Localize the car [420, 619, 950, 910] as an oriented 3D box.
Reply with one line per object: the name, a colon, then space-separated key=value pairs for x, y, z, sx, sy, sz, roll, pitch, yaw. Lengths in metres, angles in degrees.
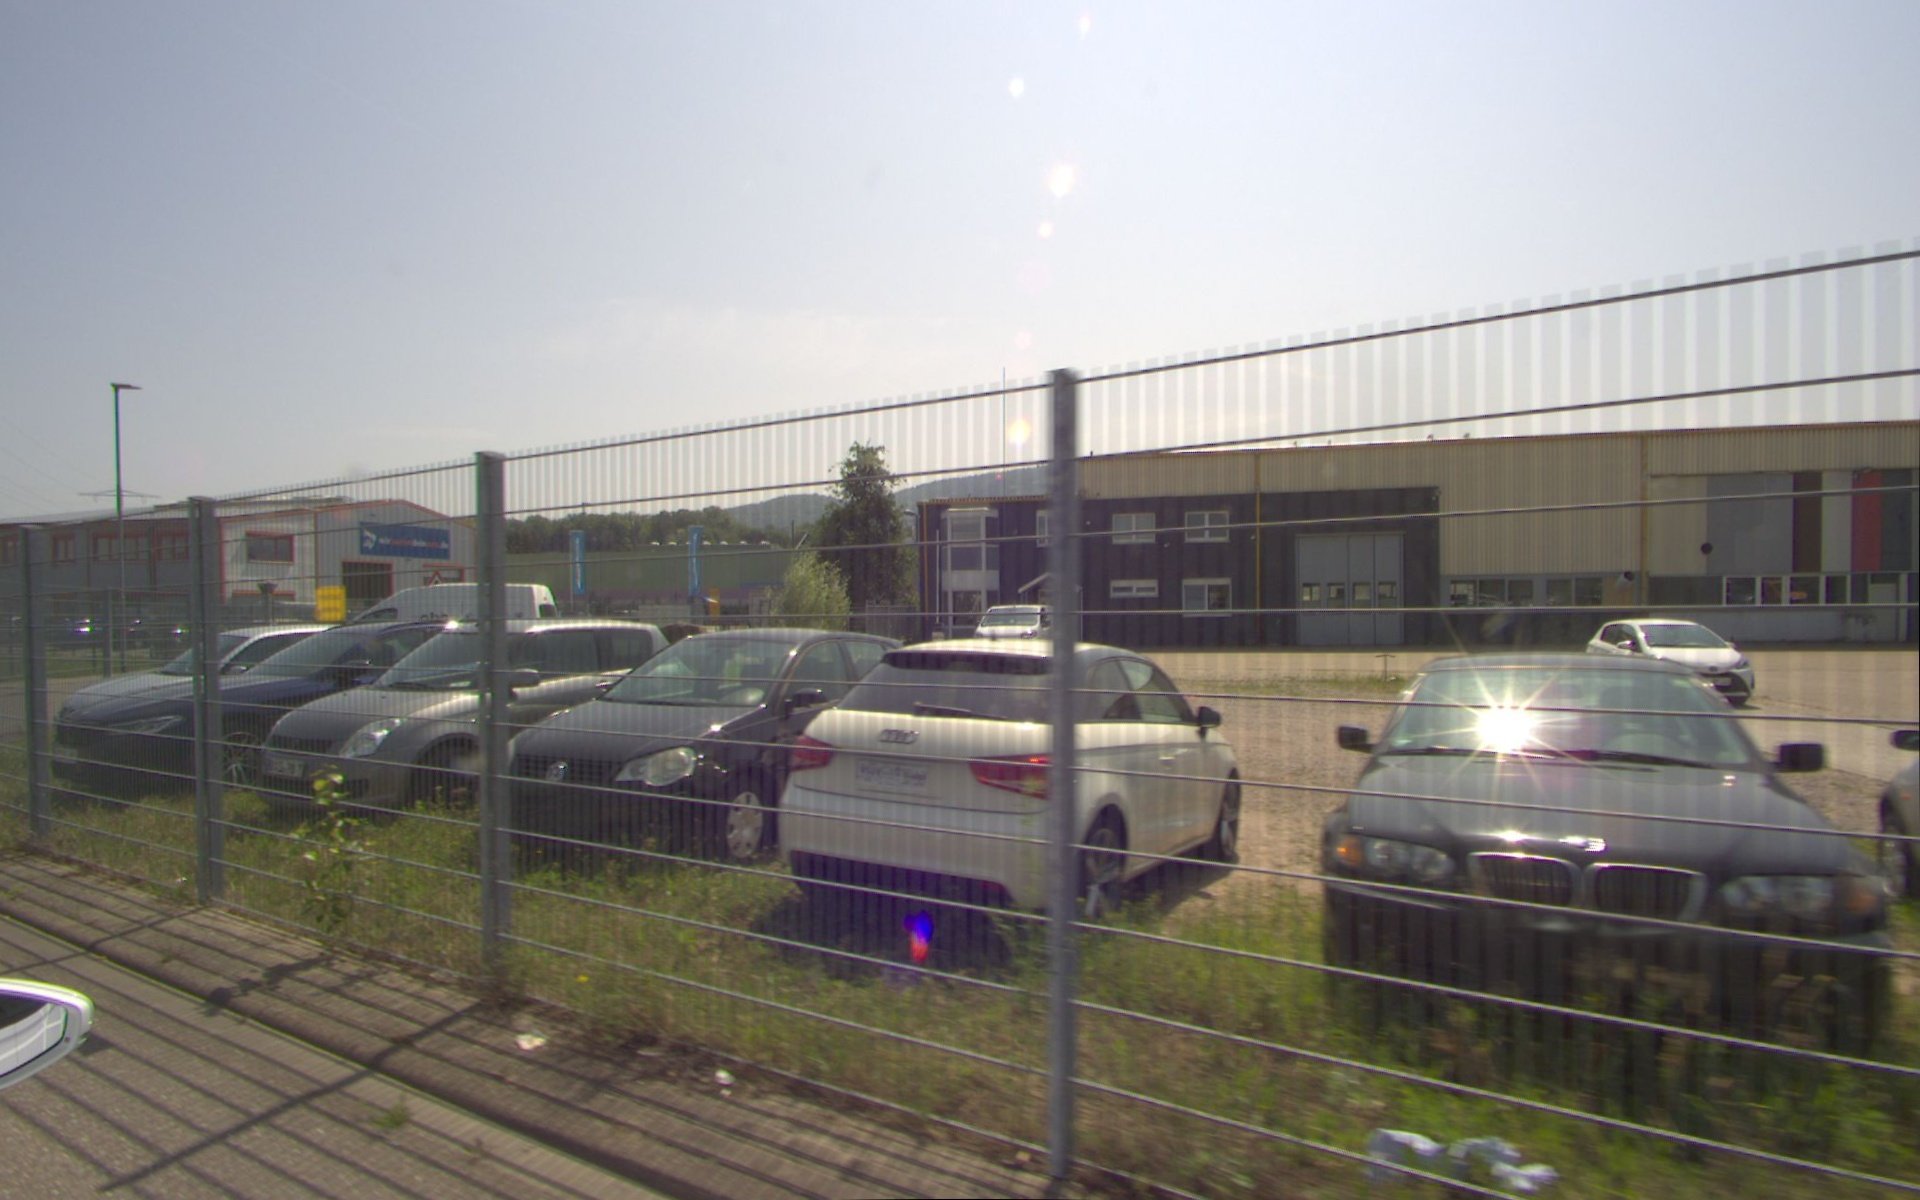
car: x=-1.637 y=0.917 z=7.198 sx=1.724 sy=1.496 sz=3.650 roll=-2 pitch=-2 yaw=24

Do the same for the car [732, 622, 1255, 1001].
car: x=0.494 y=0.866 z=5.827 sx=1.612 sy=1.407 sz=3.519 roll=-1 pitch=0 yaw=29

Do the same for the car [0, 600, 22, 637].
car: x=-52.431 y=0.994 z=52.897 sx=1.789 sy=2.005 sz=3.904 roll=0 pitch=0 yaw=12

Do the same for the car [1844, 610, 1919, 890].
car: x=5.139 y=0.722 z=4.110 sx=1.504 sy=1.371 sz=3.266 roll=0 pitch=-1 yaw=28

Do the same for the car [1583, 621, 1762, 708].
car: x=13.539 y=1.161 z=19.267 sx=1.507 sy=1.454 sz=3.664 roll=0 pitch=-1 yaw=13

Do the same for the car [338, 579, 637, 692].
car: x=-9.558 y=0.684 z=20.698 sx=5.242 sy=2.177 sz=1.906 roll=0 pitch=0 yaw=-9

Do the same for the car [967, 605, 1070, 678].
car: x=1.787 y=1.115 z=28.780 sx=1.824 sy=1.924 sz=5.069 roll=0 pitch=-1 yaw=17

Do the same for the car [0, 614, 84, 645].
car: x=-49.380 y=1.562 z=53.593 sx=1.479 sy=1.564 sz=3.601 roll=0 pitch=0 yaw=12

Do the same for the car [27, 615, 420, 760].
car: x=-8.623 y=0.909 z=11.993 sx=1.613 sy=1.441 sz=3.456 roll=-1 pitch=-1 yaw=33

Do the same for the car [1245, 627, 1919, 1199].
car: x=2.654 y=0.839 z=4.612 sx=1.697 sy=1.371 sz=4.179 roll=-1 pitch=-1 yaw=29

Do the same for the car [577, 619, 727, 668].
car: x=-8.713 y=1.207 z=28.637 sx=3.854 sy=1.294 sz=1.906 roll=0 pitch=0 yaw=-9

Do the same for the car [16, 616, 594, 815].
car: x=-6.167 y=0.922 z=10.050 sx=1.799 sy=1.493 sz=4.527 roll=-1 pitch=-1 yaw=33

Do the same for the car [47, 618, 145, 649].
car: x=-43.876 y=1.683 z=50.945 sx=1.479 sy=1.435 sz=3.601 roll=0 pitch=0 yaw=12

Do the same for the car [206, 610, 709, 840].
car: x=-4.027 y=0.851 z=8.595 sx=1.685 sy=1.521 sz=3.535 roll=-1 pitch=0 yaw=29
